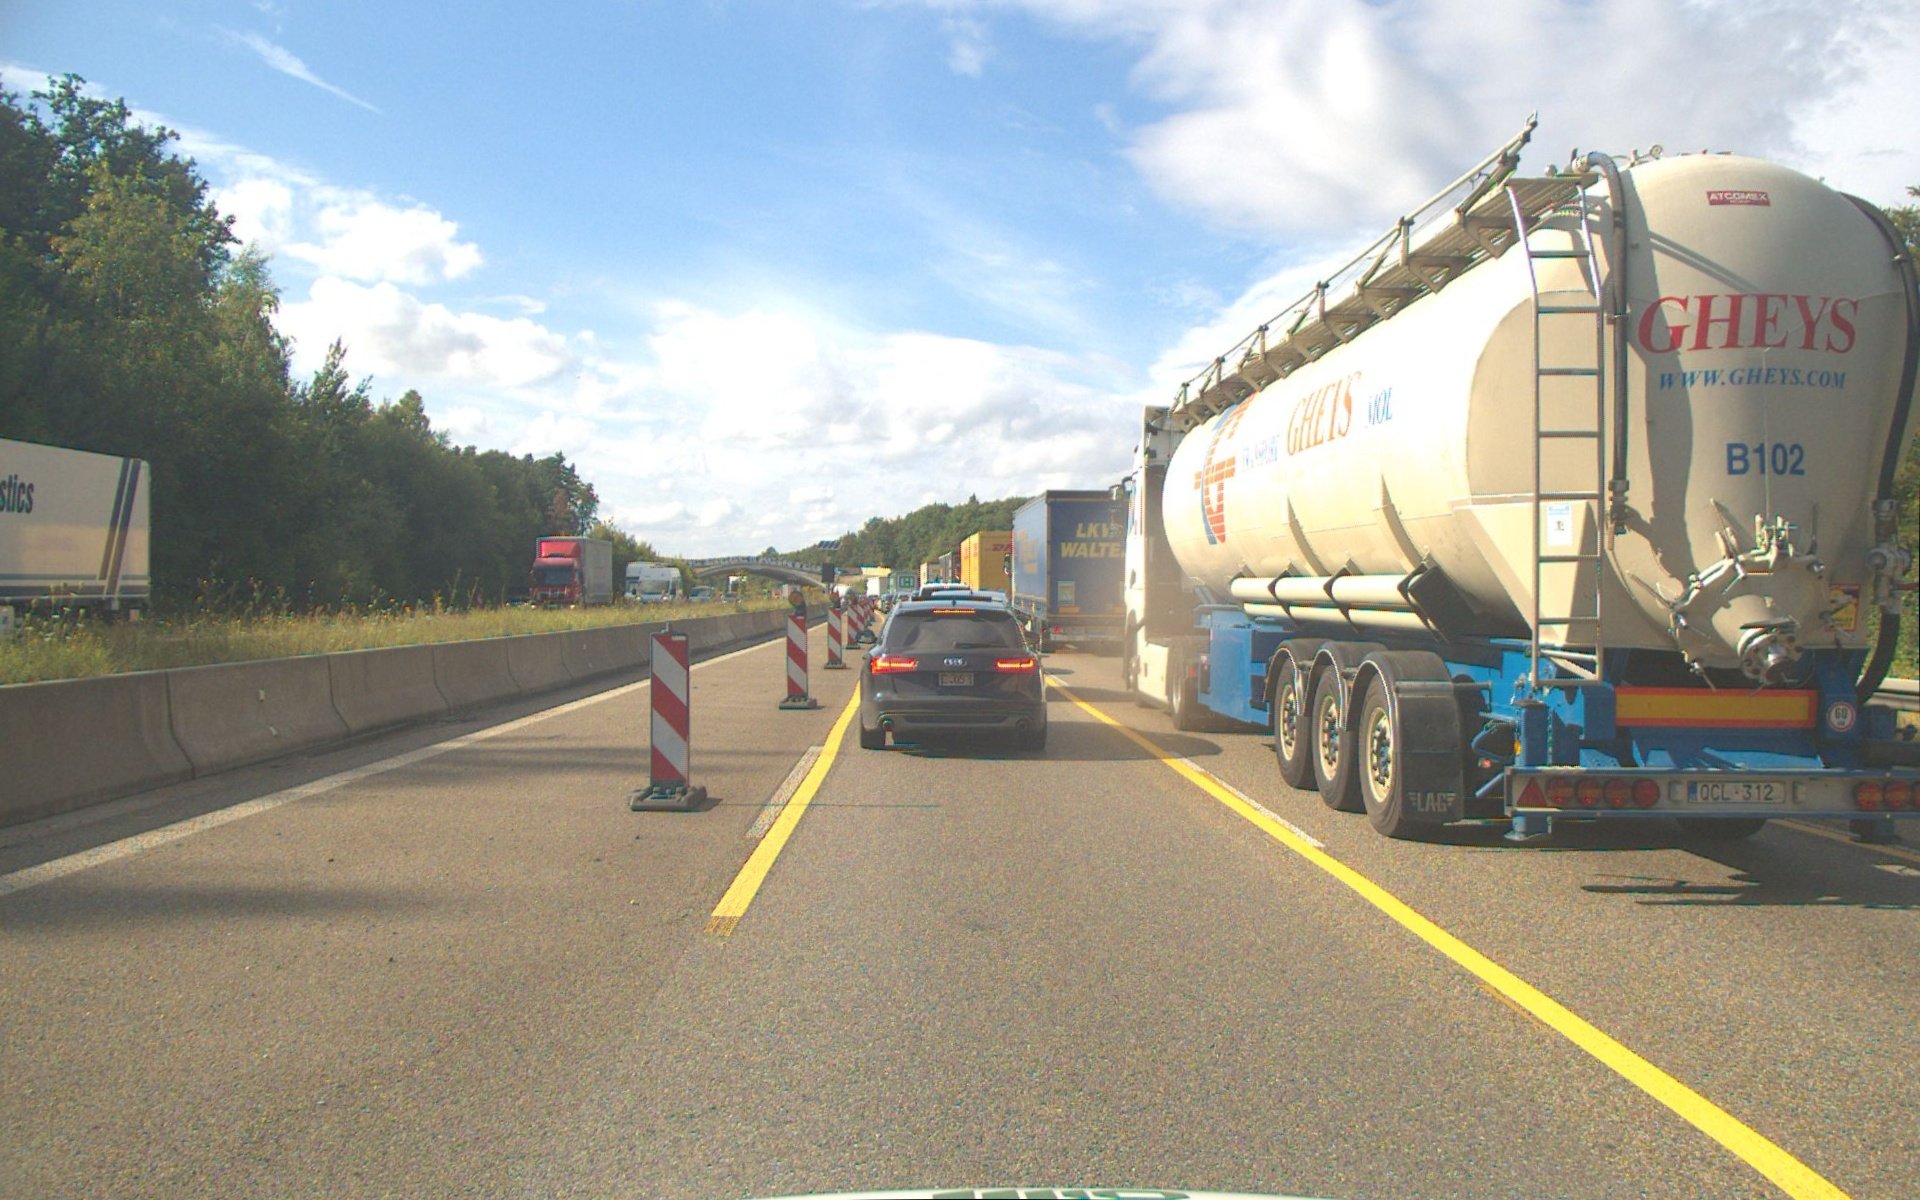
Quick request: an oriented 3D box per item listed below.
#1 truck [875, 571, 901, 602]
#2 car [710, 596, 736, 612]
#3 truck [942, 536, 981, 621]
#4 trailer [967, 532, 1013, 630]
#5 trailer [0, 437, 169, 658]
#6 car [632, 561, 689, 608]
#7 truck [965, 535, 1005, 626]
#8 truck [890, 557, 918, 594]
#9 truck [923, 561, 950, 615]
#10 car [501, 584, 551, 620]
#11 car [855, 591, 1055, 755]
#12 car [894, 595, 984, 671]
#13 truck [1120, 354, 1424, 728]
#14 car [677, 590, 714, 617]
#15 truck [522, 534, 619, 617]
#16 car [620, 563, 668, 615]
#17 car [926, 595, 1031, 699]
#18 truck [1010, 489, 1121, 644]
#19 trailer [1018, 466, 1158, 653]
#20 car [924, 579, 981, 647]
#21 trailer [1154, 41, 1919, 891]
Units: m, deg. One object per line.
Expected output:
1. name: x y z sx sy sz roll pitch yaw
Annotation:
1. truck: -10.035 -1.840 229.955 3.239 4.248 9.694 1 0 -4
2. car: -21.357 0.361 149.261 1.743 1.411 4.309 1 0 -1
3. truck: 0.046 -1.303 103.616 1.953 5.000 9.557 1 0 -2
4. trailer: 1.234 -0.759 70.919 1.584 3.987 6.486 1 0 -2
5. trailer: -18.853 -0.961 32.429 2.734 3.992 8.485 1 0 -2
6. car: -16.882 -0.860 93.630 2.116 2.494 6.330 1 0 -1
7. truck: 1.109 -0.863 74.785 1.577 3.965 4.070 1 0 -2
8. truck: -6.805 -2.886 199.713 3.238 4.248 9.696 0 0 -3
9. truck: -1.969 -0.937 136.912 2.094 4.332 7.069 1 0 -1
10. car: -25.441 0.126 97.087 1.953 2.049 3.999 1 0 -1
11. car: -0.080 0.675 17.114 1.811 1.489 3.999 0 0 -1
12. car: -0.439 0.641 33.620 1.716 1.421 3.607 1 0 -1
13. truck: 3.692 -0.630 20.963 2.605 4.041 5.777 1 0 -1
14. car: -18.552 0.238 116.147 1.905 1.844 4.118 1 0 -1
15. truck: -20.157 -1.233 86.283 2.744 4.062 10.183 1 0 -1
16. car: -21.800 -0.736 114.292 2.438 3.429 7.444 1 0 -5
17. car: 0.236 0.687 25.324 1.493 1.464 3.284 1 0 -1
18. truck: 3.179 -0.959 51.934 2.749 4.446 7.789 1 0 -1
19. trailer: 3.305 -0.959 45.496 2.748 4.490 10.429 1 0 -1
20. car: -0.227 0.378 47.449 1.549 1.869 3.111 1 0 -1
21. trailer: 3.849 -0.637 14.186 2.590 4.012 12.594 1 0 -1
